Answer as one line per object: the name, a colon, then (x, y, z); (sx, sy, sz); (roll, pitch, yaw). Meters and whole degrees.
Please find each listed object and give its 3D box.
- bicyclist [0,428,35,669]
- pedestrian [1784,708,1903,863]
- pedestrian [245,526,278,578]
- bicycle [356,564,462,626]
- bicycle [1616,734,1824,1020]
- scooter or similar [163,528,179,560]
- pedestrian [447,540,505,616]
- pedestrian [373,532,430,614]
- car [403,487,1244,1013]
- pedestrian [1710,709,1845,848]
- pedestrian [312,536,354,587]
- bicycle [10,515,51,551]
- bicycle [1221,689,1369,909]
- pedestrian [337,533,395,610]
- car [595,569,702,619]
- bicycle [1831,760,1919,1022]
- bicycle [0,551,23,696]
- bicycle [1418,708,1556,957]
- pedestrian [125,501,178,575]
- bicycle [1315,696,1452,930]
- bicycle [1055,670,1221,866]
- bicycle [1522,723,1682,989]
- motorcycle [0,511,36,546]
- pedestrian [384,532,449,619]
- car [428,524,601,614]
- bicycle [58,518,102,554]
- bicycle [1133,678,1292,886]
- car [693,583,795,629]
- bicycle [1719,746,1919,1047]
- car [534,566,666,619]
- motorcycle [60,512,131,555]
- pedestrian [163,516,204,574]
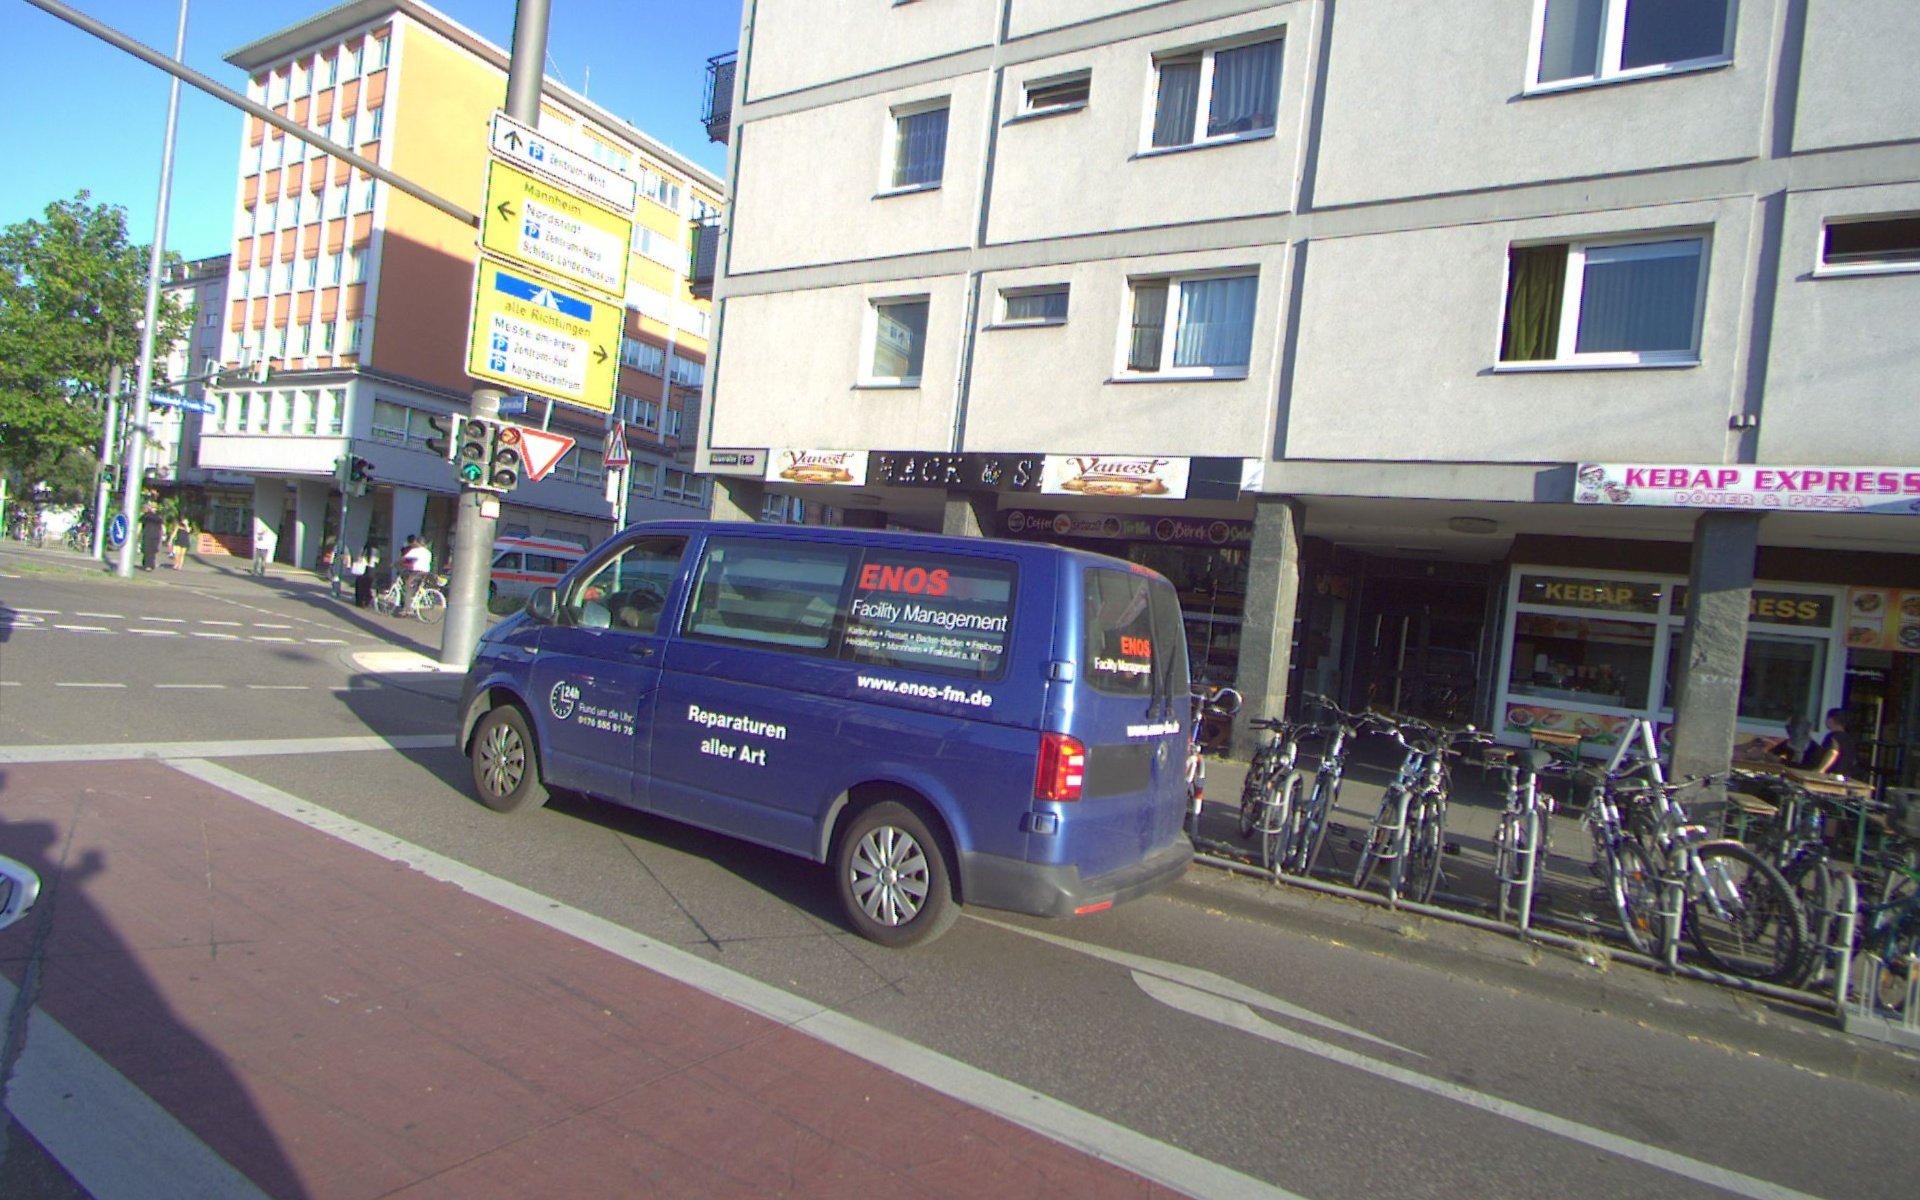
bicyclist: (-7.843, -0.448, 7.797); (0.978, 1.829, 0.674); (7, 0, 36)
pedestrian: (8.536, 1.780, 9.733); (0.621, 1.374, 0.463); (6, 0, -10)
pedestrian: (-24.686, -1.688, 35.532); (0.799, 1.722, 0.569); (7, 1, 33)
bicycle: (-10.890, -0.097, 19.883); (1.814, 0.993, 0.522); (7, 1, 9)
bicycle: (4.307, 1.473, 5.835); (0.558, 1.141, 1.869); (7, 2, 28)
scooter or similar: (-33.147, -2.346, 42.262); (0.413, 1.269, 1.170); (6, 0, -38)
pedestrian: (-11.540, -0.531, 23.990); (0.891, 1.682, 0.728); (7, 1, 33)
pedestrian: (-12.266, -0.580, 22.093); (0.734, 1.682, 0.682); (7, 1, 33)
car: (-1.008, 0.532, 6.104); (4.752, 1.957, 1.939); (6, 0, 32)
pedestrian: (8.460, 1.838, 10.420); (0.848, 1.289, 0.644); (7, 0, -21)
pedestrian: (-22.721, -1.389, 36.444); (1.010, 1.722, 0.783); (7, 1, 33)
bicycle: (-34.436, -2.497, 37.263); (1.844, 1.141, 0.645); (7, 1, 34)
bicycle: (2.349, 1.263, 6.906); (0.558, 1.141, 1.869); (7, 2, 28)
pedestrian: (-12.615, -0.609, 21.363); (0.734, 1.518, 0.682); (7, 1, 33)
car: (-12.644, -0.198, 41.078); (1.570, 1.590, 4.078); (7, -1, 30)
bicycle: (5.290, 1.559, 5.287); (0.558, 1.141, 1.869); (7, 2, 28)
bicycle: (-7.891, 0.093, 7.762); (1.828, 1.040, 0.575); (6, 0, 36)
bicycle: (3.331, 1.355, 6.370); (0.558, 1.141, 1.869); (7, 2, 28)
pedestrian: (-20.310, -1.549, 25.277); (1.055, 1.725, 0.661); (7, 1, 37)
bicycle: (2.841, 1.297, 6.635); (0.558, 1.141, 1.869); (7, 2, 28)
bicycle: (1.373, 1.152, 7.459); (0.558, 1.141, 1.869); (7, 2, 28)
bicycle: (3.822, 1.430, 6.114); (0.558, 1.141, 1.869); (7, 2, 28)
motorcycle: (-38.121, -2.902, 40.695); (2.168, 1.257, 0.666); (6, 0, 39)
pedestrian: (-10.733, -0.476, 19.889); (0.747, 1.609, 0.678); (5, -1, 9)
car: (-15.600, -1.023, 35.581); (1.894, 2.512, 5.257); (7, -1, 31)
bicycle: (-33.585, -2.451, 38.380); (2.090, 1.172, 0.645); (7, 1, 34)
bicycle: (1.851, 1.200, 7.165); (0.558, 1.141, 1.869); (7, 2, 28)
car: (-8.901, 0.270, 41.743); (1.759, 1.482, 3.991); (6, -1, 33)
bicycle: (4.793, 1.515, 5.558); (0.558, 1.141, 1.869); (7, 2, 28)
car: (-12.493, -0.226, 35.129); (1.776, 1.393, 3.992); (6, -1, 32)
motorcycle: (-35.535, -2.726, 41.369); (0.749, 1.423, 2.042); (7, 0, 39)
pedestrian: (-23.419, -1.653, 30.336); (0.735, 1.609, 0.681); (7, 1, 36)
